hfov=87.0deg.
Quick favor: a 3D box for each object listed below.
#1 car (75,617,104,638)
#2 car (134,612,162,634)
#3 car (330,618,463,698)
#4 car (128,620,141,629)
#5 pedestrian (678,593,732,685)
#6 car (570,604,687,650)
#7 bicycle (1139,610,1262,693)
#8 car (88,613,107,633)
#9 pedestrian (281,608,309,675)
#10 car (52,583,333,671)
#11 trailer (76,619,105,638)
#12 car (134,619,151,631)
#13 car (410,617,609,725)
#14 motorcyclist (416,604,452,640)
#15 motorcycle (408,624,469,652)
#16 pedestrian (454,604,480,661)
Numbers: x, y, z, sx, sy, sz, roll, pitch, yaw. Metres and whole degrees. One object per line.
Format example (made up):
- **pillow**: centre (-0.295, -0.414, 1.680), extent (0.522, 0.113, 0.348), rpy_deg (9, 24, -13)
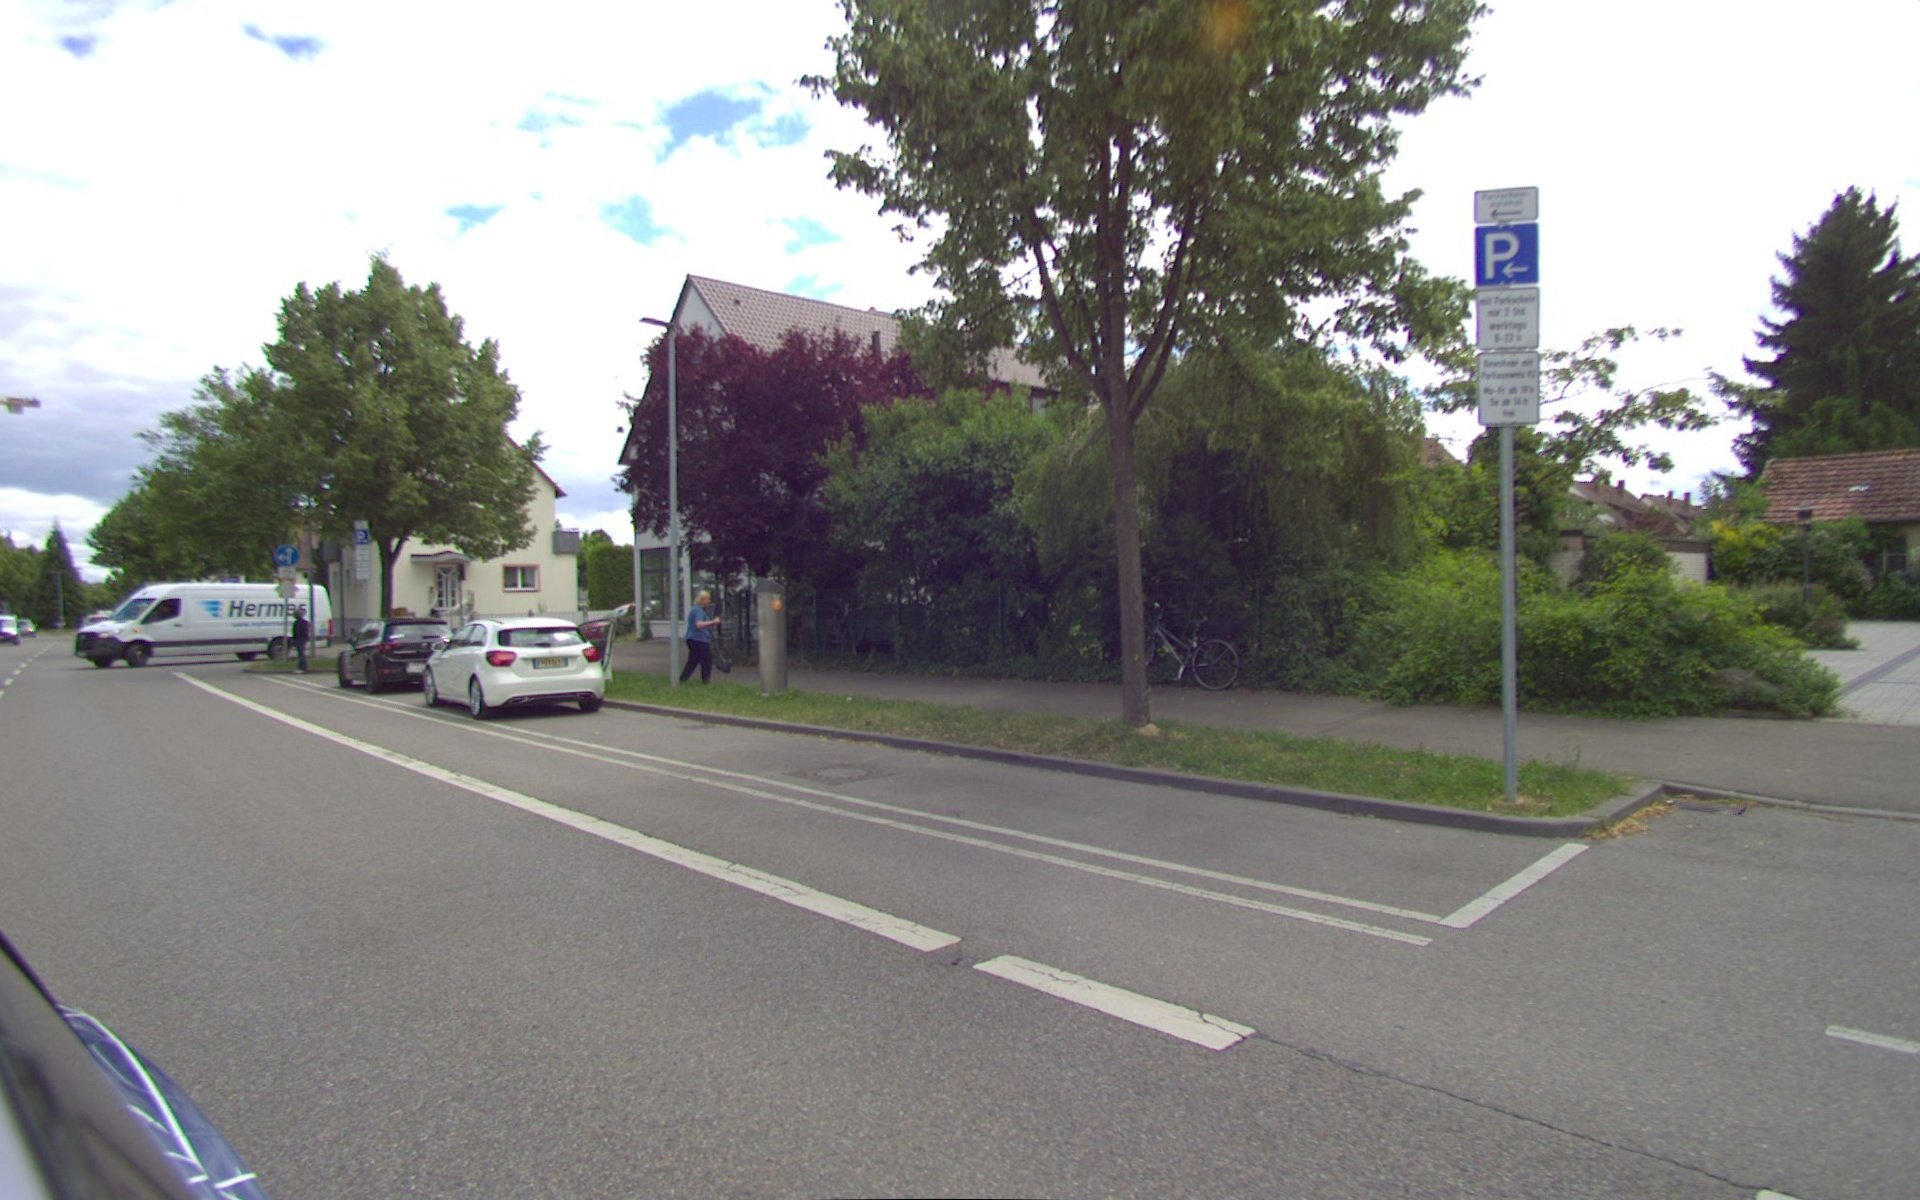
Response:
- **car**: centre (-83.055, 2.610, 96.537), extent (1.942, 1.844, 4.825), rpy_deg (-1, -1, -42)
- **car**: centre (-68.864, 1.919, 85.780), extent (1.748, 1.784, 4.559), rpy_deg (-1, 0, -40)
- **car**: centre (-11.510, 1.105, 20.547), extent (1.622, 1.431, 4.026), rpy_deg (0, -1, -40)
- **car**: centre (-147.147, 4.371, 180.328), extent (1.641, 1.486, 3.751), rpy_deg (-1, 0, -42)
- **pedestrian**: centre (-4.336, 0.662, 17.245), extent (0.692, 1.540, 0.581), rpy_deg (-1, 0, 12)
- **car**: centre (-13.868, 1.077, 42.427), extent (1.874, 1.791, 4.298), rpy_deg (1, 1, 45)
- **bicycle**: centre (3.239, 0.673, 13.711), extent (1.581, 1.056, 0.457), rpy_deg (-1, 0, 41)
- **car**: centre (-125.190, 3.352, 147.001), extent (1.993, 2.694, 5.815), rpy_deg (-1, 0, -40)
- **pedestrian**: centre (-17.363, 1.082, 26.430), extent (0.535, 1.694, 0.752), rpy_deg (-3, -1, -33)
- **car**: centre (-25.144, 0.814, 33.665), extent (2.208, 2.614, 7.250), rpy_deg (-1, 0, 25)
- **trailer**: centre (-79.904, 2.632, 92.982), extent (1.914, 1.689, 4.694), rpy_deg (-1, -1, -42)
- **car**: centre (-117.857, 3.606, 145.830), extent (1.725, 1.648, 4.053), rpy_deg (-2, 0, -41)
- **car**: centre (-7.096, 0.987, 15.705), extent (1.693, 1.417, 4.307), rpy_deg (0, -1, -40)
- **motorcyclist**: centre (-20.666, 0.870, 39.771), extent (1.093, 1.375, 0.754), rpy_deg (-1, -1, -43)
- **motorcycle**: centre (-20.542, 1.482, 39.894), extent (2.088, 1.039, 0.481), rpy_deg (-1, -1, -44)
- **pedestrian**: centre (-13.743, 0.895, 28.192), extent (0.425, 1.563, 0.807), rpy_deg (-1, 0, -42)
